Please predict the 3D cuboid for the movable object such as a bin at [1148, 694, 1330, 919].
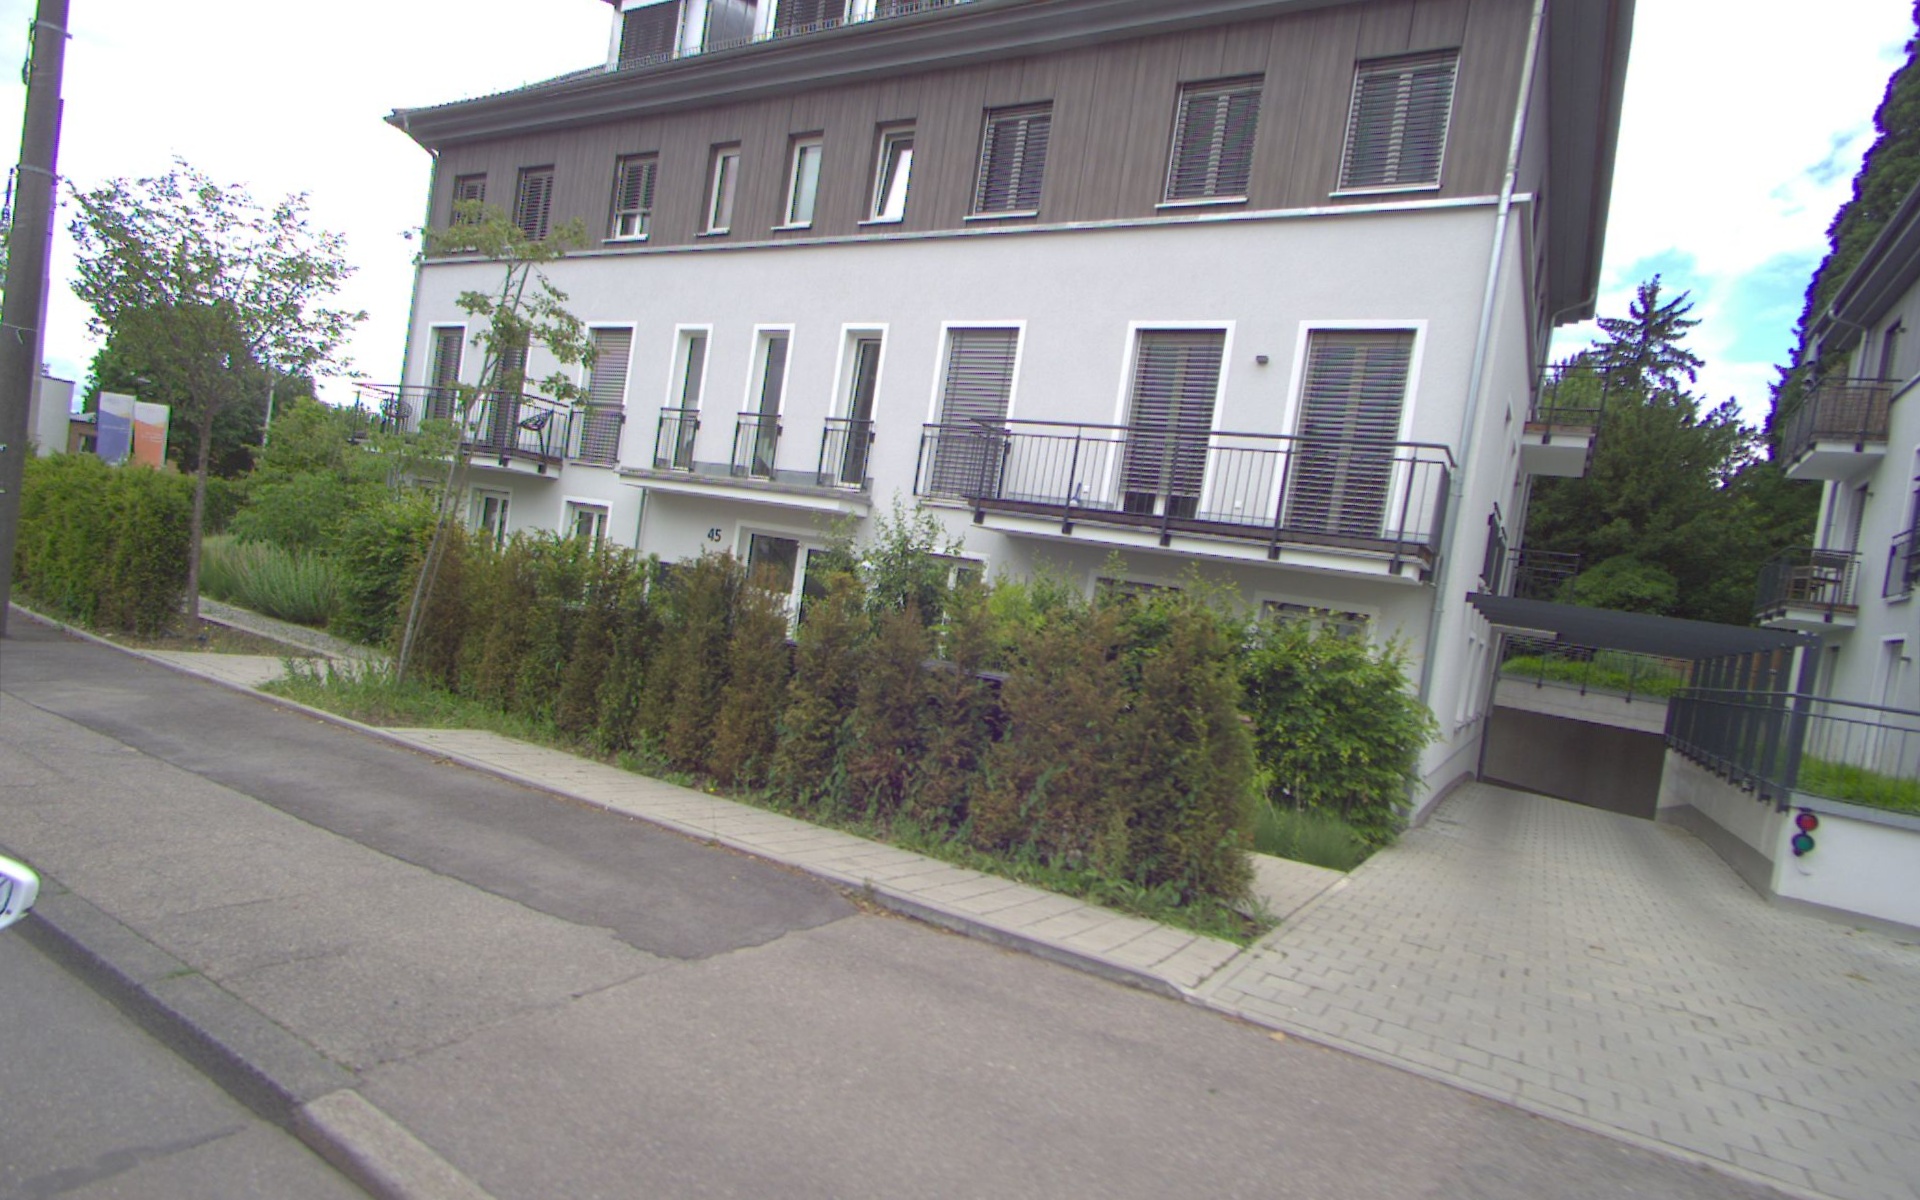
[{"bbox_3d":[1.559,1.139,5.718,0.670,1.086,0.716,7,-1,-6],"label":"movable object such as a bin"}]
